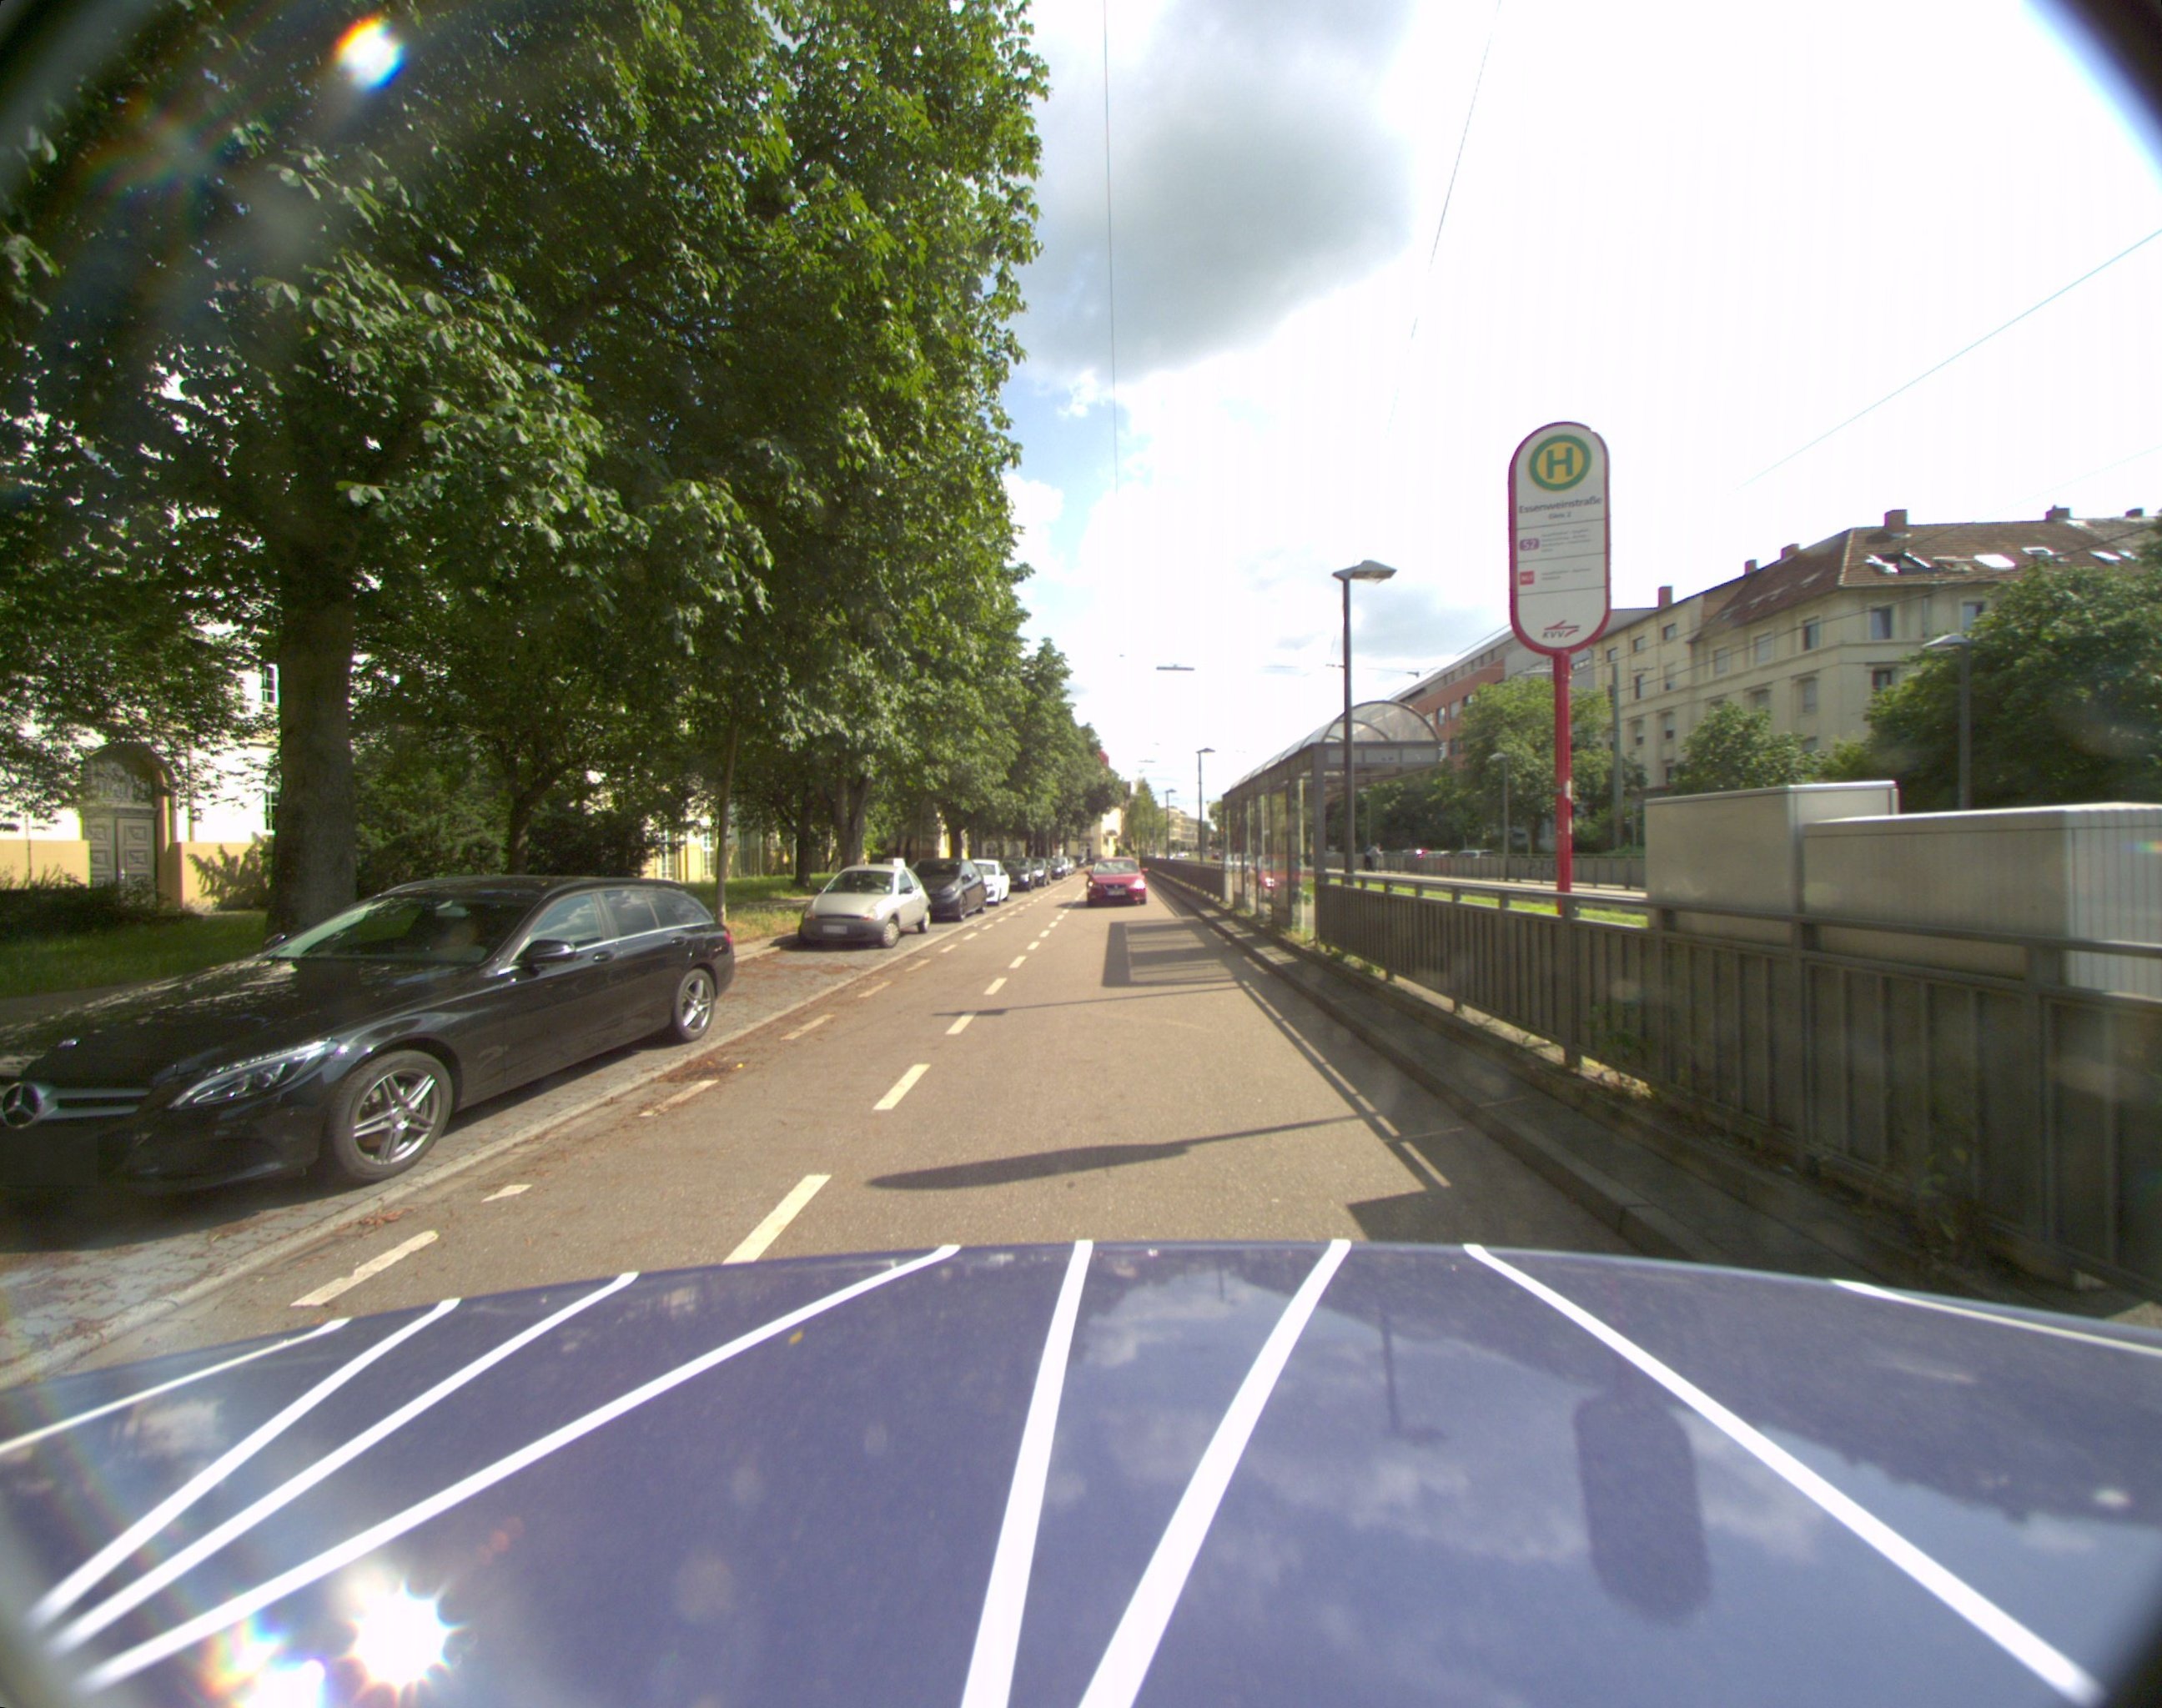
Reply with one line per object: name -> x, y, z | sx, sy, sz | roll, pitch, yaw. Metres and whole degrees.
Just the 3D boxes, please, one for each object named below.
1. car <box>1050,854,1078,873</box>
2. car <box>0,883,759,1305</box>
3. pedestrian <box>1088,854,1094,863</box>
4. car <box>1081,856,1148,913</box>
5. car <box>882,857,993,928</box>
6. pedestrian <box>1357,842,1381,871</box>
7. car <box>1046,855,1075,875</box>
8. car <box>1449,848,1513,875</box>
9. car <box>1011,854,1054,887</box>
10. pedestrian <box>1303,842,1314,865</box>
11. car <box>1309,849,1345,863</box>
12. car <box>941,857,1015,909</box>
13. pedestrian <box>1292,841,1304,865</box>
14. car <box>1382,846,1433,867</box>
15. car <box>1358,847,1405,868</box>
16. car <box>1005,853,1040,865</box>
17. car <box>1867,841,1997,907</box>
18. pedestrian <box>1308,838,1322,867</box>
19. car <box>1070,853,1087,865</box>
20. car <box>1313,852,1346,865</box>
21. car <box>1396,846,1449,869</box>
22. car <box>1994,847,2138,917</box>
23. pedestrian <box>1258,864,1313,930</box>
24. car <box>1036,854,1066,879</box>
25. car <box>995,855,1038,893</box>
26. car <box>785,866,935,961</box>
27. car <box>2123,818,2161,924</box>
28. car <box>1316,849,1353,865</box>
car -> -1.339, 0.729, 62.036 | 1.833, 1.433, 5.050 | 2, 0, 3
car -> -4.348, 1.041, 5.408 | 1.922, 1.433, 4.797 | 1, 0, 2
pedestrian -> 1.523, 0.656, 112.897 | 0.804, 1.238, 0.892 | -1, 2, 5
car -> 1.015, 0.850, 23.021 | 1.790, 1.499, 4.000 | -2, 0, 3
car -> -3.571, 0.898, 19.802 | 1.729, 1.574, 4.678 | 0, 0, 3
pedestrian -> 15.648, 0.132, 41.271 | 0.991, 1.569, 0.798 | -1, 1, 0
car -> -1.482, 0.820, 56.828 | 1.639, 1.423, 4.016 | 2, 0, 5
car -> 24.795, 0.449, 47.066 | 4.161, 1.556, 1.921 | -1, 1, -38
car -> -2.428, 0.815, 39.307 | 1.694, 1.552, 4.308 | 2, 0, 3
pedestrian -> 16.397, -0.034, 54.792 | 0.608, 1.665, 0.625 | -1, 2, 3
car -> 27.147, 0.213, 83.870 | 4.007, 1.487, 1.647 | -1, 0, -34
car -> -3.351, 0.887, 25.399 | 1.840, 1.515, 4.253 | 1, 0, 0
pedestrian -> 15.689, -0.062, 54.939 | 0.607, 1.744, 0.626 | 0, 2, 43
car -> 25.620, 0.218, 59.608 | 4.006, 1.559, 1.606 | -1, 0, -31
car -> 25.848, 0.291, 65.317 | 4.006, 1.520, 1.669 | -3, 0, -34
car -> -8.588, 0.706, 111.400 | 4.827, 1.646, 1.858 | -1, 2, 13
car -> 23.370, 0.502, 20.830 | 4.007, 1.630, 1.823 | -1, -1, -34
pedestrian -> 15.471, -0.073, 50.207 | 0.752, 1.881, 0.639 | -1, 3, 5
car -> -0.275, 0.557, 89.266 | 1.689, 1.379, 3.924 | 0, 1, 3
car -> 26.285, 0.429, 80.309 | 3.258, 1.296, 1.600 | -1, 0, -32
car -> 25.519, 0.240, 56.714 | 4.144, 1.630, 1.829 | -1, 1, -37
car -> 23.520, 0.602, 18.125 | 4.006, 1.477, 1.606 | -1, 0, -30
pedestrian -> 3.460, 0.709, 12.863 | 0.662, 1.066, 0.725 | -1, 0, 37
car -> -1.947, 0.798, 50.898 | 1.836, 1.458, 4.829 | 1, 1, -1
car -> -2.834, 0.849, 34.124 | 1.559, 1.453, 3.558 | 2, 1, 0
car -> -3.973, 0.997, 14.258 | 1.594, 1.437, 3.598 | 1, 1, 3
car -> 22.929, 0.293, 15.128 | 3.957, 2.058, 2.045 | -1, 0, -28
car -> 25.783, 0.312, 77.252 | 3.316, 1.412, 1.581 | -3, 1, -27
